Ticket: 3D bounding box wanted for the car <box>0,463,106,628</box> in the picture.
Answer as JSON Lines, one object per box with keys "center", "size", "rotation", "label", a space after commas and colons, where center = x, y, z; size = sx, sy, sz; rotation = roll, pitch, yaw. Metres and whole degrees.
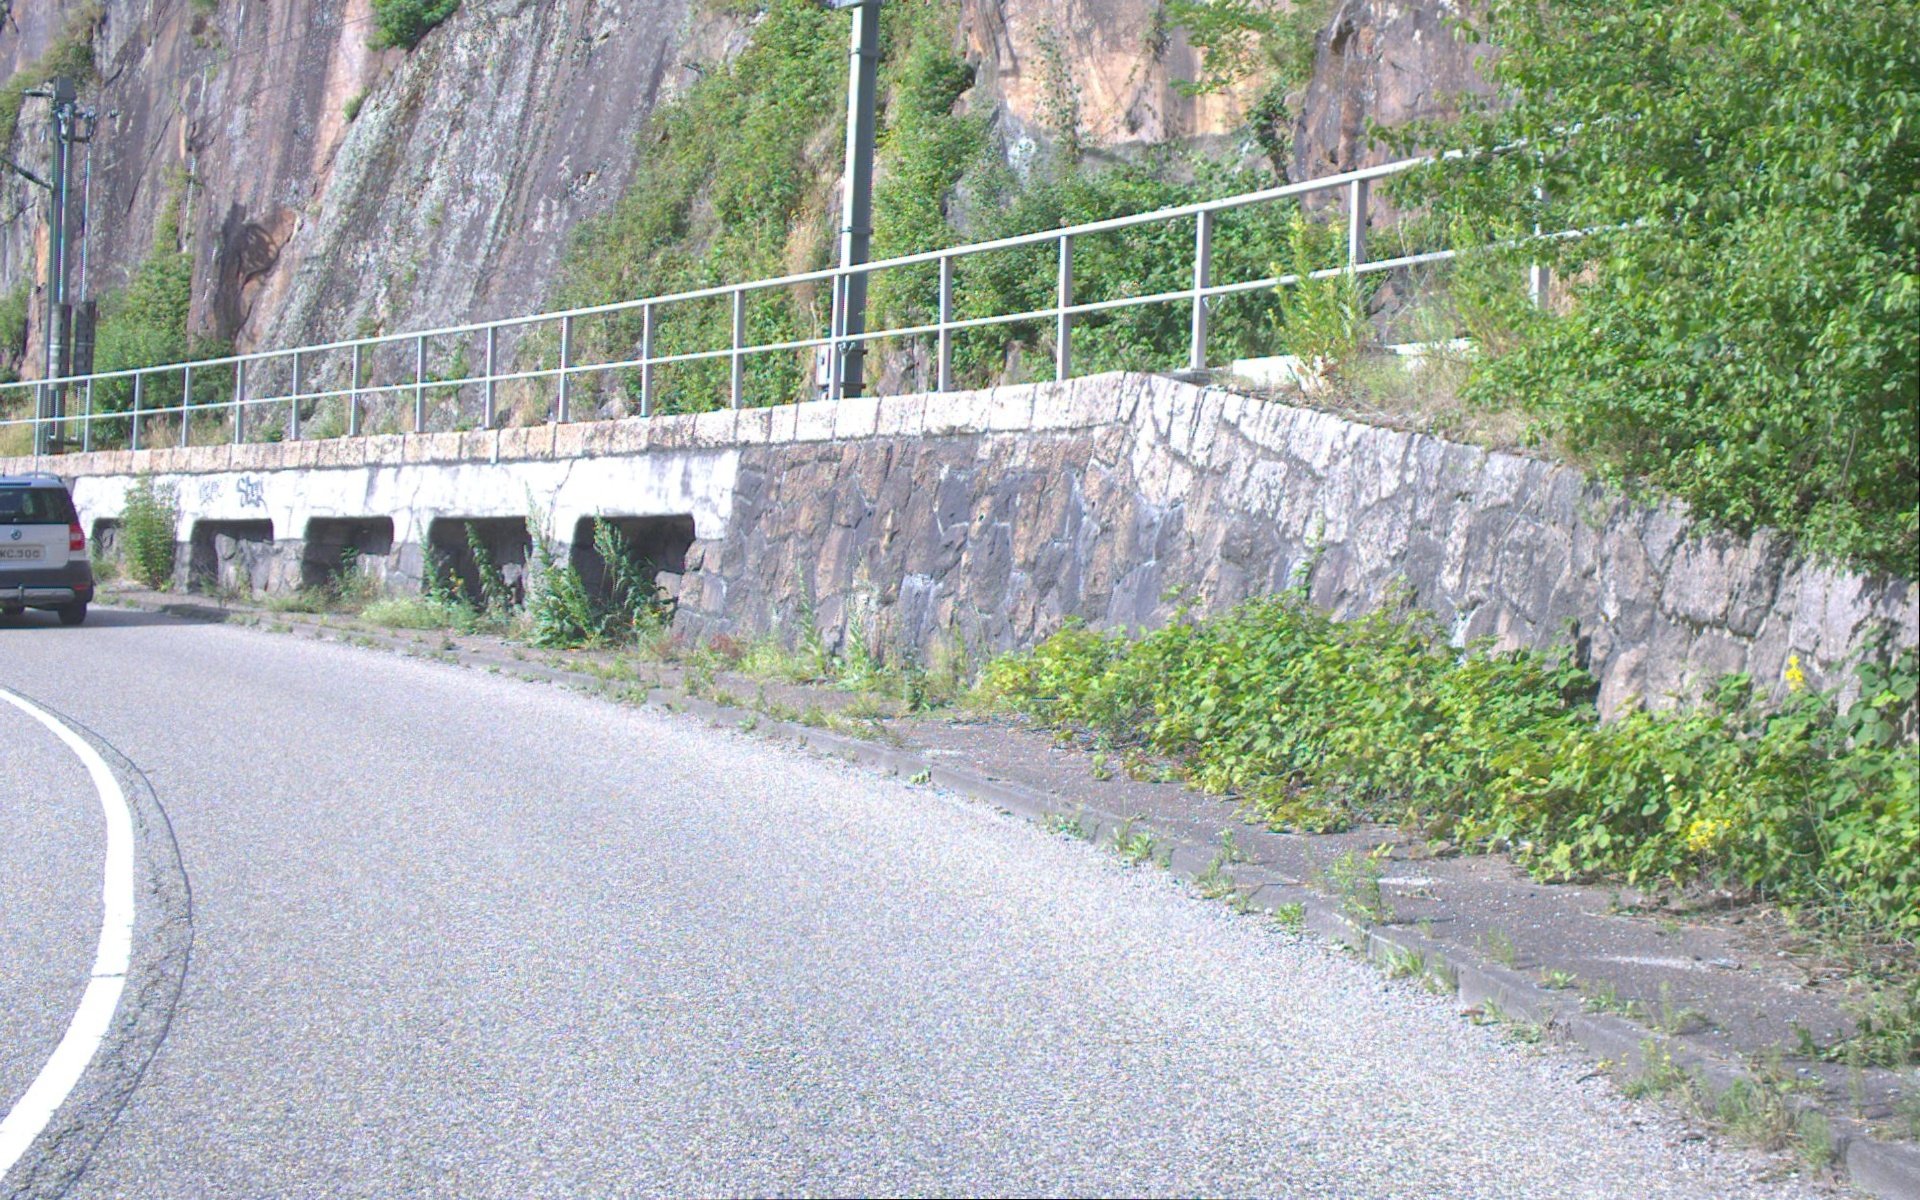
{"center": [-10.892, -0.645, 37.902], "size": [1.872, 1.650, 4.001], "rotation": [-1, 4, -29], "label": "car"}
